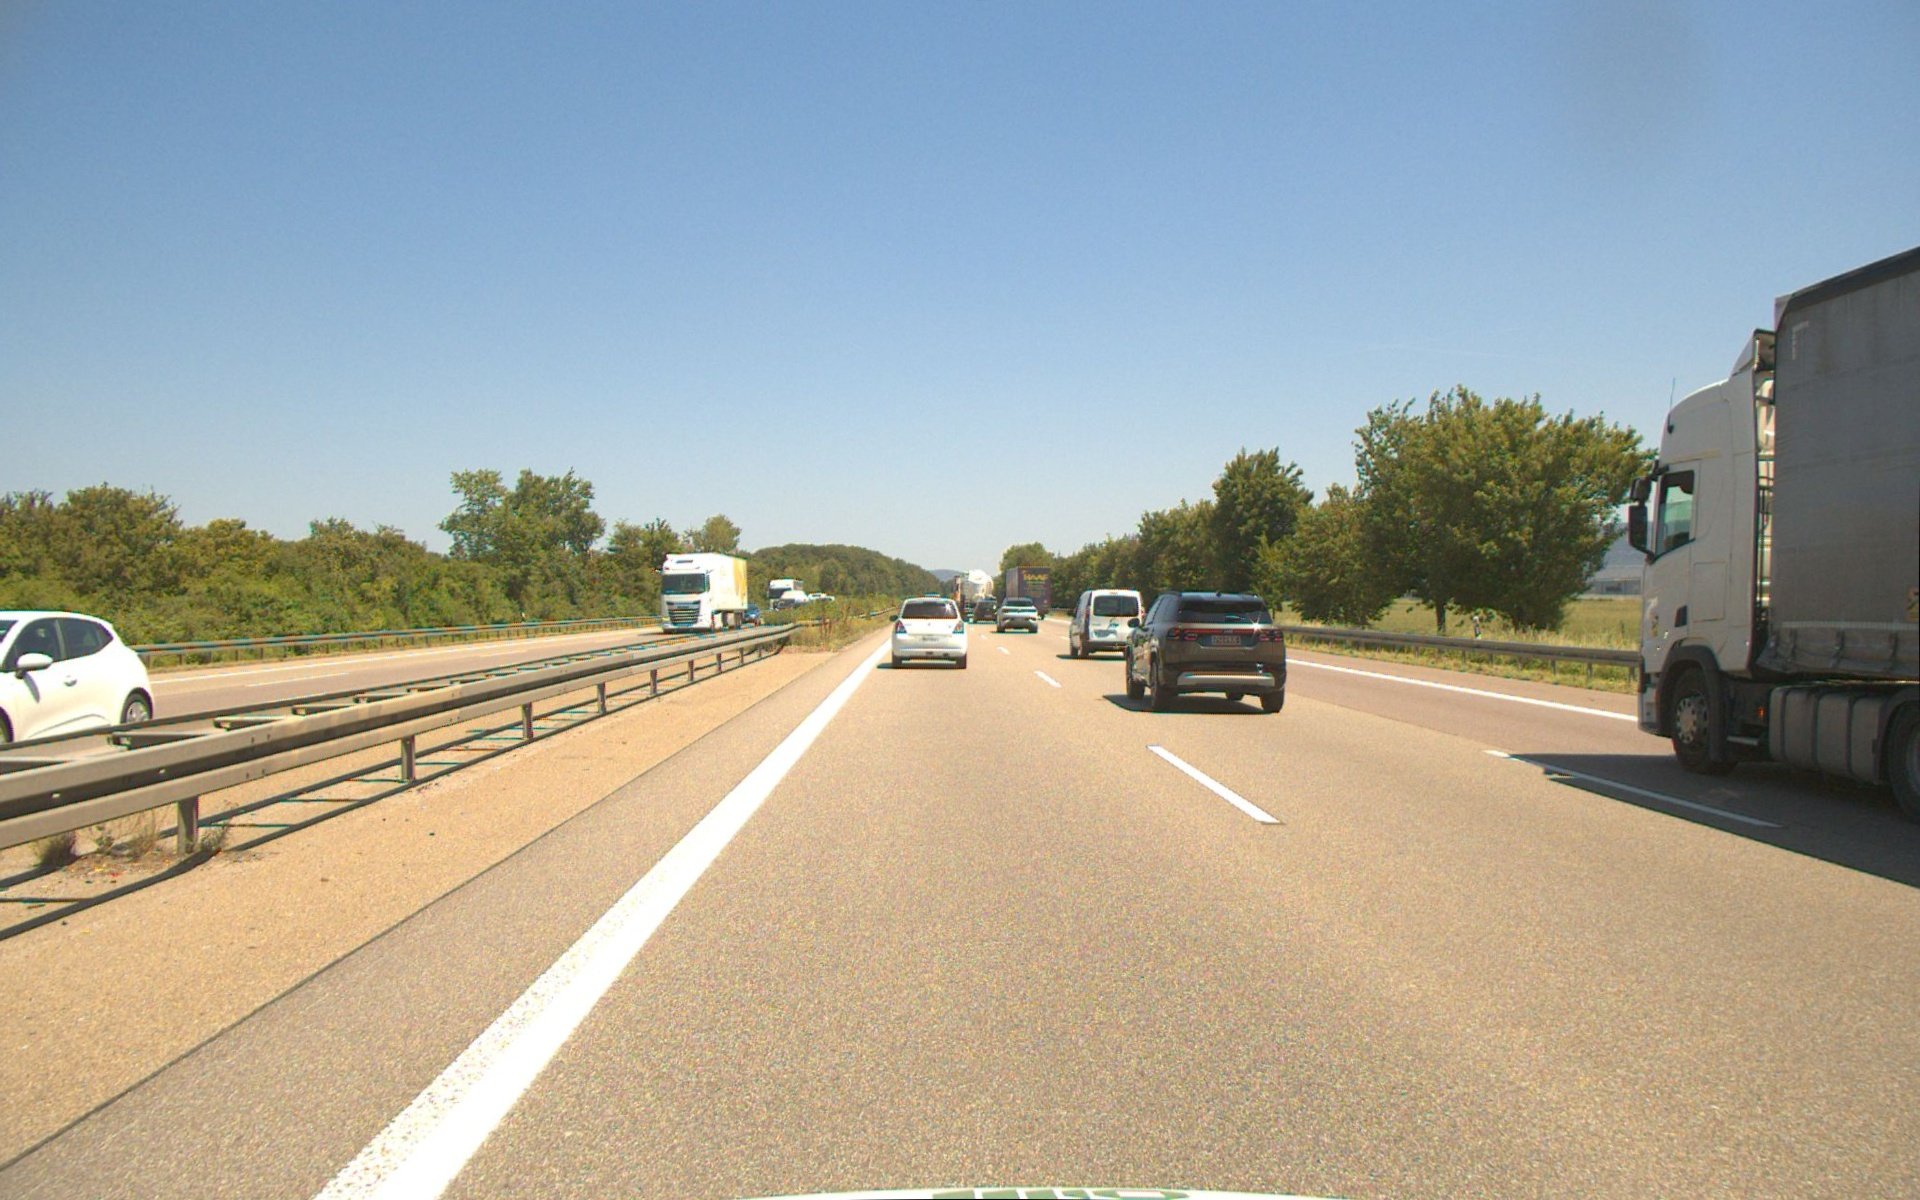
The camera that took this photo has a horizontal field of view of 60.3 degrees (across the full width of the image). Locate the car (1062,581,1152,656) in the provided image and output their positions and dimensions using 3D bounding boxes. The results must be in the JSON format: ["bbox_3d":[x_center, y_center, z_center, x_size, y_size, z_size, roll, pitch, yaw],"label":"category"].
[{"bbox_3d":[3.945,0.483,45.060,1.816,1.895,4.700,1,0,-2],"label":"car"}]

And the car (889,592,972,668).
[{"bbox_3d":[-0.683,0.649,37.213,1.763,1.579,3.609,1,0,-2],"label":"car"}]

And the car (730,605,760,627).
[{"bbox_3d":[-14.713,1.085,113.355,1.540,1.410,3.966,-3,0,-1],"label":"car"}]

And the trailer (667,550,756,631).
[{"bbox_3d":[-13.840,-0.493,93.457,2.684,4.156,14.346,-2,0,0],"label":"trailer"}]

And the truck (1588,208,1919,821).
[{"bbox_3d":[8.176,-0.591,14.091,2.753,4.380,7.191,1,0,-1],"label":"truck"}]

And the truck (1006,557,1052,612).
[{"bbox_3d":[5.558,-1.181,135.695,3.045,4.211,15.509,1,0,0],"label":"truck"}]

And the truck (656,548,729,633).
[{"bbox_3d":[-13.863,-0.487,86.090,2.684,4.156,6.216,-2,0,0],"label":"truck"}]

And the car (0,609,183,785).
[{"bbox_3d":[-8.807,0.835,15.043,1.684,1.447,3.896,-2,0,-2],"label":"car"}]

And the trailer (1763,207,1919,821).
[{"bbox_3d":[8.332,-0.601,6.831,2.753,4.380,14.250,1,0,-1],"label":"trailer"}]

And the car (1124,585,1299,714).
[{"bbox_3d":[3.642,0.671,24.776,1.829,1.704,4.745,1,0,-1],"label":"car"}]

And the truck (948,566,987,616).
[{"bbox_3d":[0.607,-0.739,143.944,2.854,4.150,7.189,1,0,-4],"label":"truck"}]

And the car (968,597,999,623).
[{"bbox_3d":[1.453,0.625,104.680,1.813,1.549,3.956,1,0,-1],"label":"car"}]

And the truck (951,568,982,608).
[{"bbox_3d":[0.679,-1.284,185.179,3.325,4.287,12.082,1,0,0],"label":"truck"}]

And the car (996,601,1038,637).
[{"bbox_3d":[2.670,0.895,78.647,1.766,1.631,4.379,1,0,-1],"label":"car"}]

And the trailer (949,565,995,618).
[{"bbox_3d":[0.932,-0.679,139.503,2.854,4.140,12.407,1,0,-4],"label":"trailer"}]
